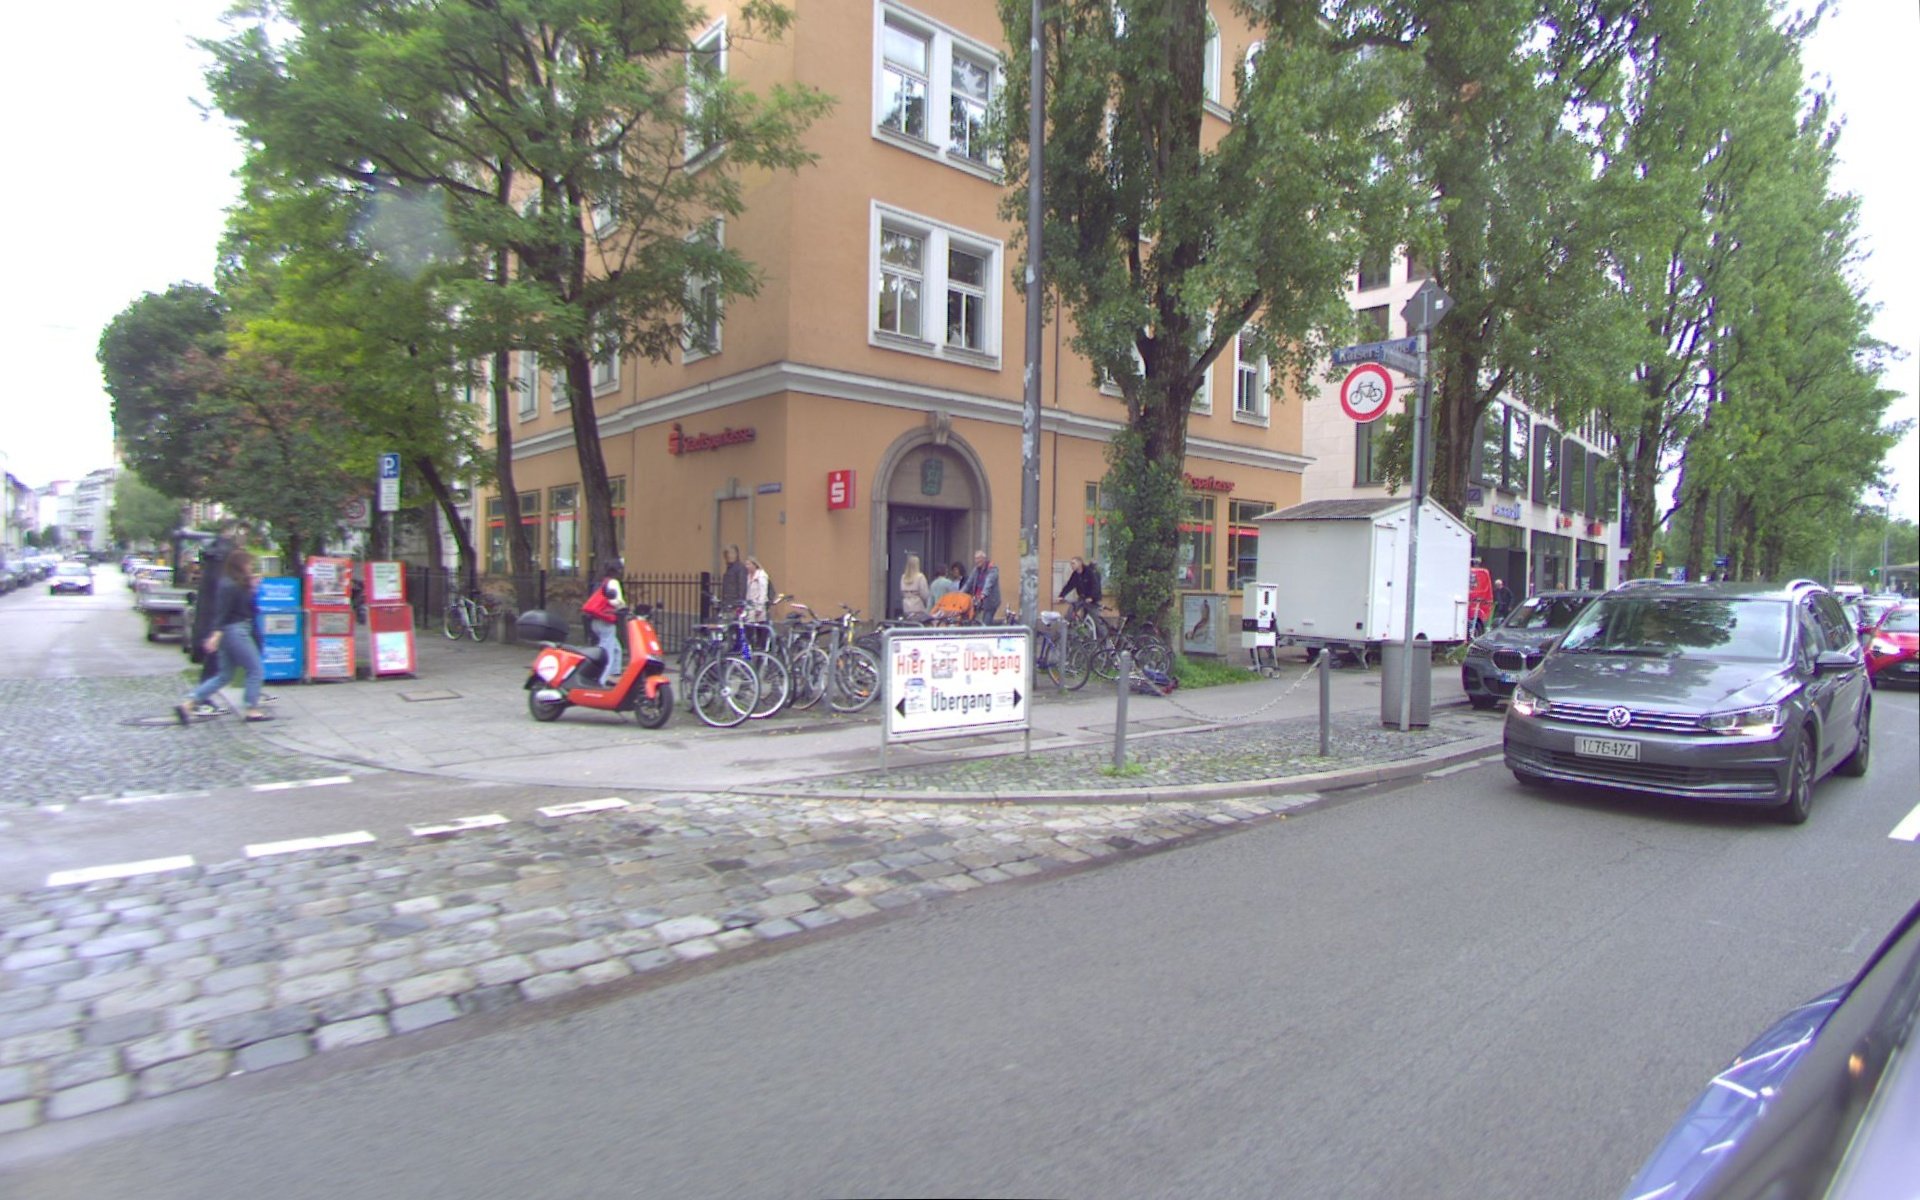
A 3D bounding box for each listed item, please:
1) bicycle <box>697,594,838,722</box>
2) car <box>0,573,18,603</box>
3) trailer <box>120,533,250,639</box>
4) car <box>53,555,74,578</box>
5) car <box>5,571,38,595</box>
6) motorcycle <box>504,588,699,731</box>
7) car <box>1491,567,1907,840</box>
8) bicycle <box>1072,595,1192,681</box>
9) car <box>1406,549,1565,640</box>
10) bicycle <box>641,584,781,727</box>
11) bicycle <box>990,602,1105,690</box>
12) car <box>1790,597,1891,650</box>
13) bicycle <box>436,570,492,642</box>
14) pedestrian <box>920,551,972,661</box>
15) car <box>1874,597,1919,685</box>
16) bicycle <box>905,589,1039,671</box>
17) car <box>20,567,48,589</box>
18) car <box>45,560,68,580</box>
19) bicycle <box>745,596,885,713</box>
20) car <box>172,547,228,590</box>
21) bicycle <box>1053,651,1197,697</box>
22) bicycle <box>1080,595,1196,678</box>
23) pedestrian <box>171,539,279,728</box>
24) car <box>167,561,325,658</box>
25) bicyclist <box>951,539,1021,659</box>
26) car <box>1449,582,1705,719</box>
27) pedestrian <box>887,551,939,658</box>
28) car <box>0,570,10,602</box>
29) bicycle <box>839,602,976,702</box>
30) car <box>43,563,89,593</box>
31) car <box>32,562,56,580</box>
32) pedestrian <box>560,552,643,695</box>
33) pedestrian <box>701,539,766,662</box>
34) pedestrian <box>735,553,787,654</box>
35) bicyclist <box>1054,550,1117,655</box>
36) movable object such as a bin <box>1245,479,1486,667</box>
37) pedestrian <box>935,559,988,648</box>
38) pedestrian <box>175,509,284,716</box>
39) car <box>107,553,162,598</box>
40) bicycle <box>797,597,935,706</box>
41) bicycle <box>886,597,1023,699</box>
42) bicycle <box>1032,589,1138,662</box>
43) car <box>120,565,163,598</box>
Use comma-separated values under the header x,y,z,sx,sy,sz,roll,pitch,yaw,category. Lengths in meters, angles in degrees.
x,y,z,sx,sy,sz,roll,pitch,yaw,category
-2.022,0.542,10.440,0.551,1.151,1.945,0,1,-39,bicycle
-57.364,-0.728,60.360,1.673,1.707,3.991,0,1,-43,car
-17.012,-0.304,22.111,1.873,2.054,5.246,1,0,-42,trailer
-97.894,-3.680,110.489,1.673,2.447,3.991,0,1,-43,car
-67.396,-1.222,72.674,1.673,1.707,3.991,0,1,-43,car
-3.445,0.521,9.674,1.939,1.236,0.510,2,1,24,motorcycle
6.036,0.601,8.073,4.120,1.611,1.880,0,0,-42,car
2.363,0.499,13.967,1.587,1.098,0.339,2,1,28,bicycle
13.395,-0.139,25.765,3.919,2.149,1.687,1,1,-30,car
-2.515,0.493,10.045,0.551,1.255,1.945,0,1,-39,bicycle
1.100,0.563,13.056,1.597,1.022,0.337,2,1,43,bicycle
24.966,0.625,28.644,3.934,1.378,1.698,0,0,-42,car
-9.934,0.105,20.235,0.551,1.389,1.945,1,0,-39,bicycle
-0.229,0.090,16.221,0.617,1.715,0.566,0,0,41,pedestrian
17.462,0.678,17.836,3.934,1.451,1.614,0,0,-42,car
0.215,0.411,15.279,0.884,1.134,2.071,2,1,41,bicycle
-74.679,-1.790,81.596,1.673,1.707,3.991,0,1,-43,car
-94.386,-3.097,105.680,1.673,2.079,3.991,0,1,-43,car
-1.609,0.538,10.940,0.551,1.102,1.945,0,1,-39,bicycle
-37.861,-1.540,50.407,1.965,2.039,3.993,0,0,-41,car
2.119,0.937,13.116,1.671,0.378,0.818,4,3,42,bicycle
2.502,0.493,14.303,1.593,1.098,0.319,2,1,28,bicycle
-6.910,0.292,9.512,0.758,1.682,0.745,0,0,-41,pedestrian
-12.833,0.139,18.090,1.874,1.539,3.992,-1,0,-42,car
0.392,-0.023,15.473,0.828,1.779,0.657,1,1,42,bicyclist
8.500,0.569,13.777,4.421,1.572,1.787,0,0,-42,car
-0.773,0.075,16.657,0.631,1.715,0.567,0,0,38,pedestrian
-53.423,-0.786,55.704,1.673,1.707,3.991,0,1,-43,car
-0.657,0.568,11.864,0.551,1.022,1.945,0,1,-39,bicycle
-45.839,-1.106,51.854,1.673,1.487,3.991,0,1,-43,car
-89.090,-2.774,98.459,1.673,1.707,3.991,0,1,-43,car
-4.167,0.261,11.760,0.741,1.590,0.606,0,0,36,pedestrian
-3.419,0.000,15.282,0.719,1.788,0.699,0,0,-38,pedestrian
-3.220,0.054,16.340,0.564,1.590,0.699,0,0,-38,pedestrian
2.115,0.030,17.012,0.738,1.708,0.737,1,1,42,bicyclist
7.894,-0.520,19.555,4.464,3.175,2.445,0,3,-41,movable object such as a bin
0.022,0.056,18.506,0.652,1.590,0.745,0,0,-39,pedestrian
-7.399,0.117,10.243,0.789,1.973,0.838,0,0,-44,pedestrian
-39.683,-1.147,48.616,1.965,2.039,3.993,0,0,-41,car
-1.106,0.536,11.475,0.551,1.089,1.945,0,1,-39,bicycle
-0.105,0.542,12.350,0.551,1.098,1.945,0,1,-39,bicycle
2.128,0.395,17.035,0.734,1.134,2.071,2,1,41,bicycle
-51.701,-1.129,63.905,1.965,2.039,3.993,0,0,-41,car
